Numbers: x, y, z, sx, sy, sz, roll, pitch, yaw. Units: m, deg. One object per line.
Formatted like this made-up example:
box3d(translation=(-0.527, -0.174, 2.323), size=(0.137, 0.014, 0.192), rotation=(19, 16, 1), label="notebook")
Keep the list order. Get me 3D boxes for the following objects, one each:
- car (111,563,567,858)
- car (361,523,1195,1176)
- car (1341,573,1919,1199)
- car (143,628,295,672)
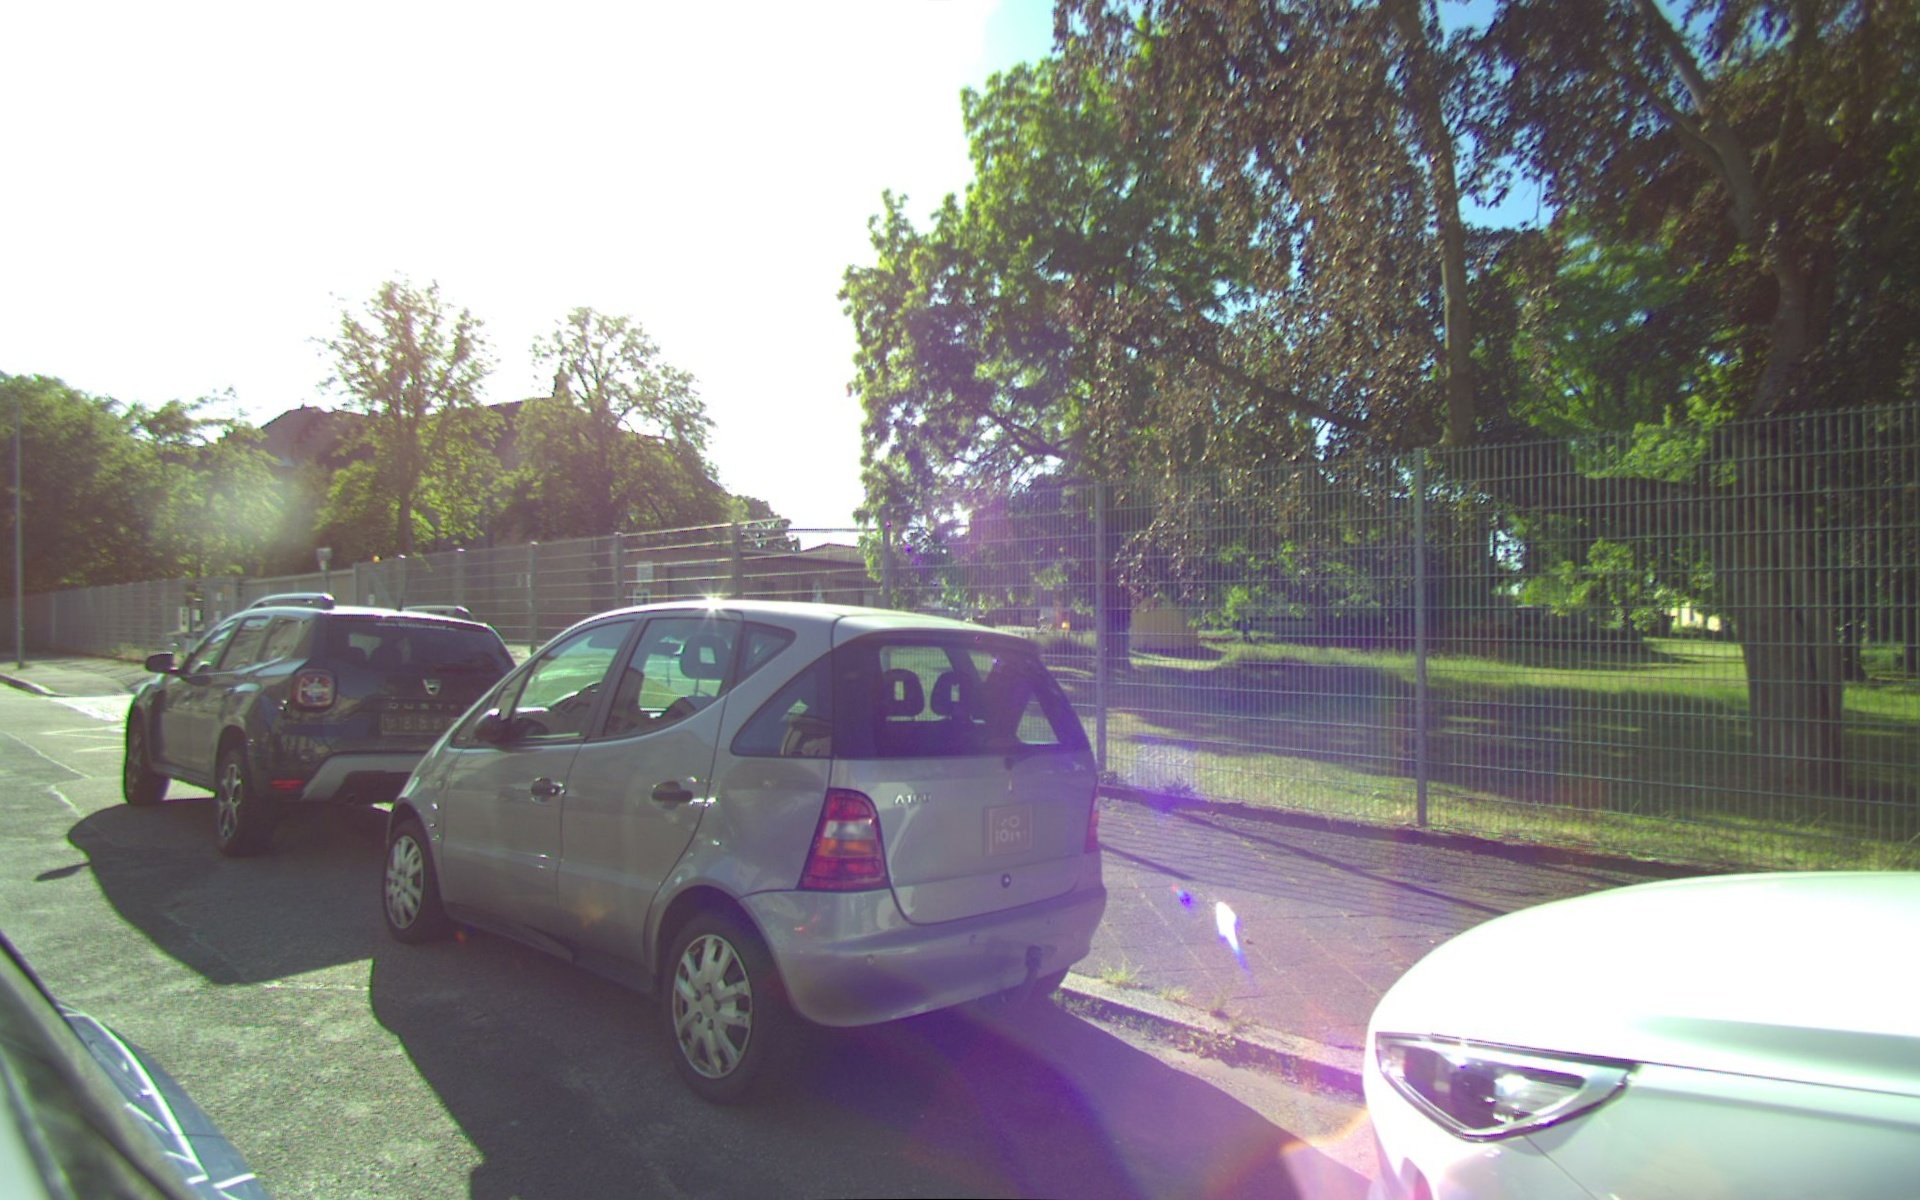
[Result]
box3d(translation=(-4.912, 0.710, 7.770), size=(4.162, 1.676, 1.694), rotation=(-1, -5, 40), label="car")
box3d(translation=(-1.002, 0.710, 4.370), size=(3.613, 1.656, 1.548), rotation=(-1, -5, 40), label="car")
box3d(translation=(2.743, 0.716, 0.965), size=(4.118, 1.456, 1.775), rotation=(-1, -4, 41), label="car")
box3d(translation=(-25.982, 1.707, 35.581), size=(1.998, 1.431, 3.947), rotation=(-1, -2, 39), label="car")
